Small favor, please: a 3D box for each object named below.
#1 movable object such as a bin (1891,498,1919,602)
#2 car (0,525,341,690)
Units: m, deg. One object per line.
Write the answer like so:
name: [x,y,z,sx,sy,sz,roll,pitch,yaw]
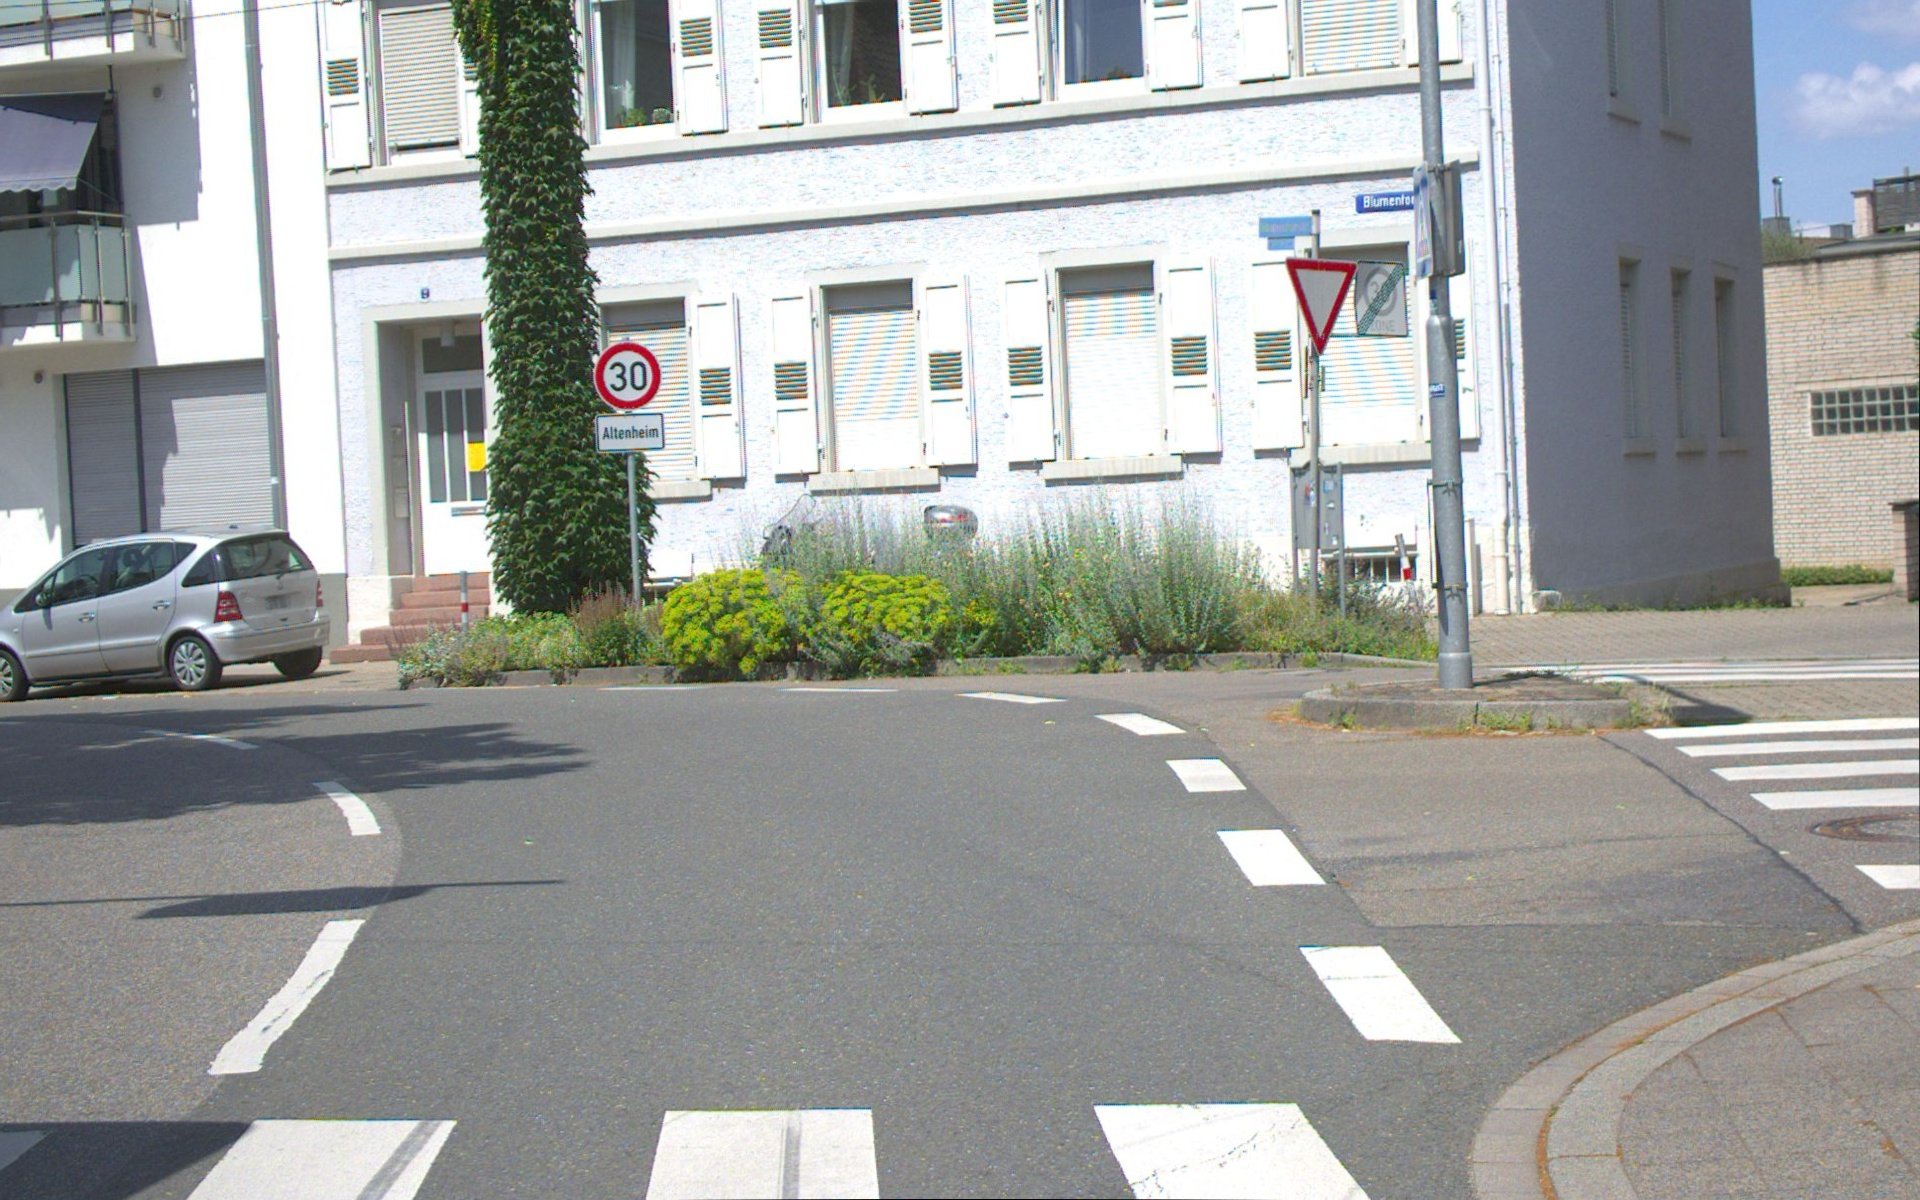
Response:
movable object such as a bin: [8.567,-0.438,30.301,0.418,0.913,0.560,-1,0,-25]
car: [-8.131,0.087,34.490,3.612,1.581,1.581,-1,0,31]
